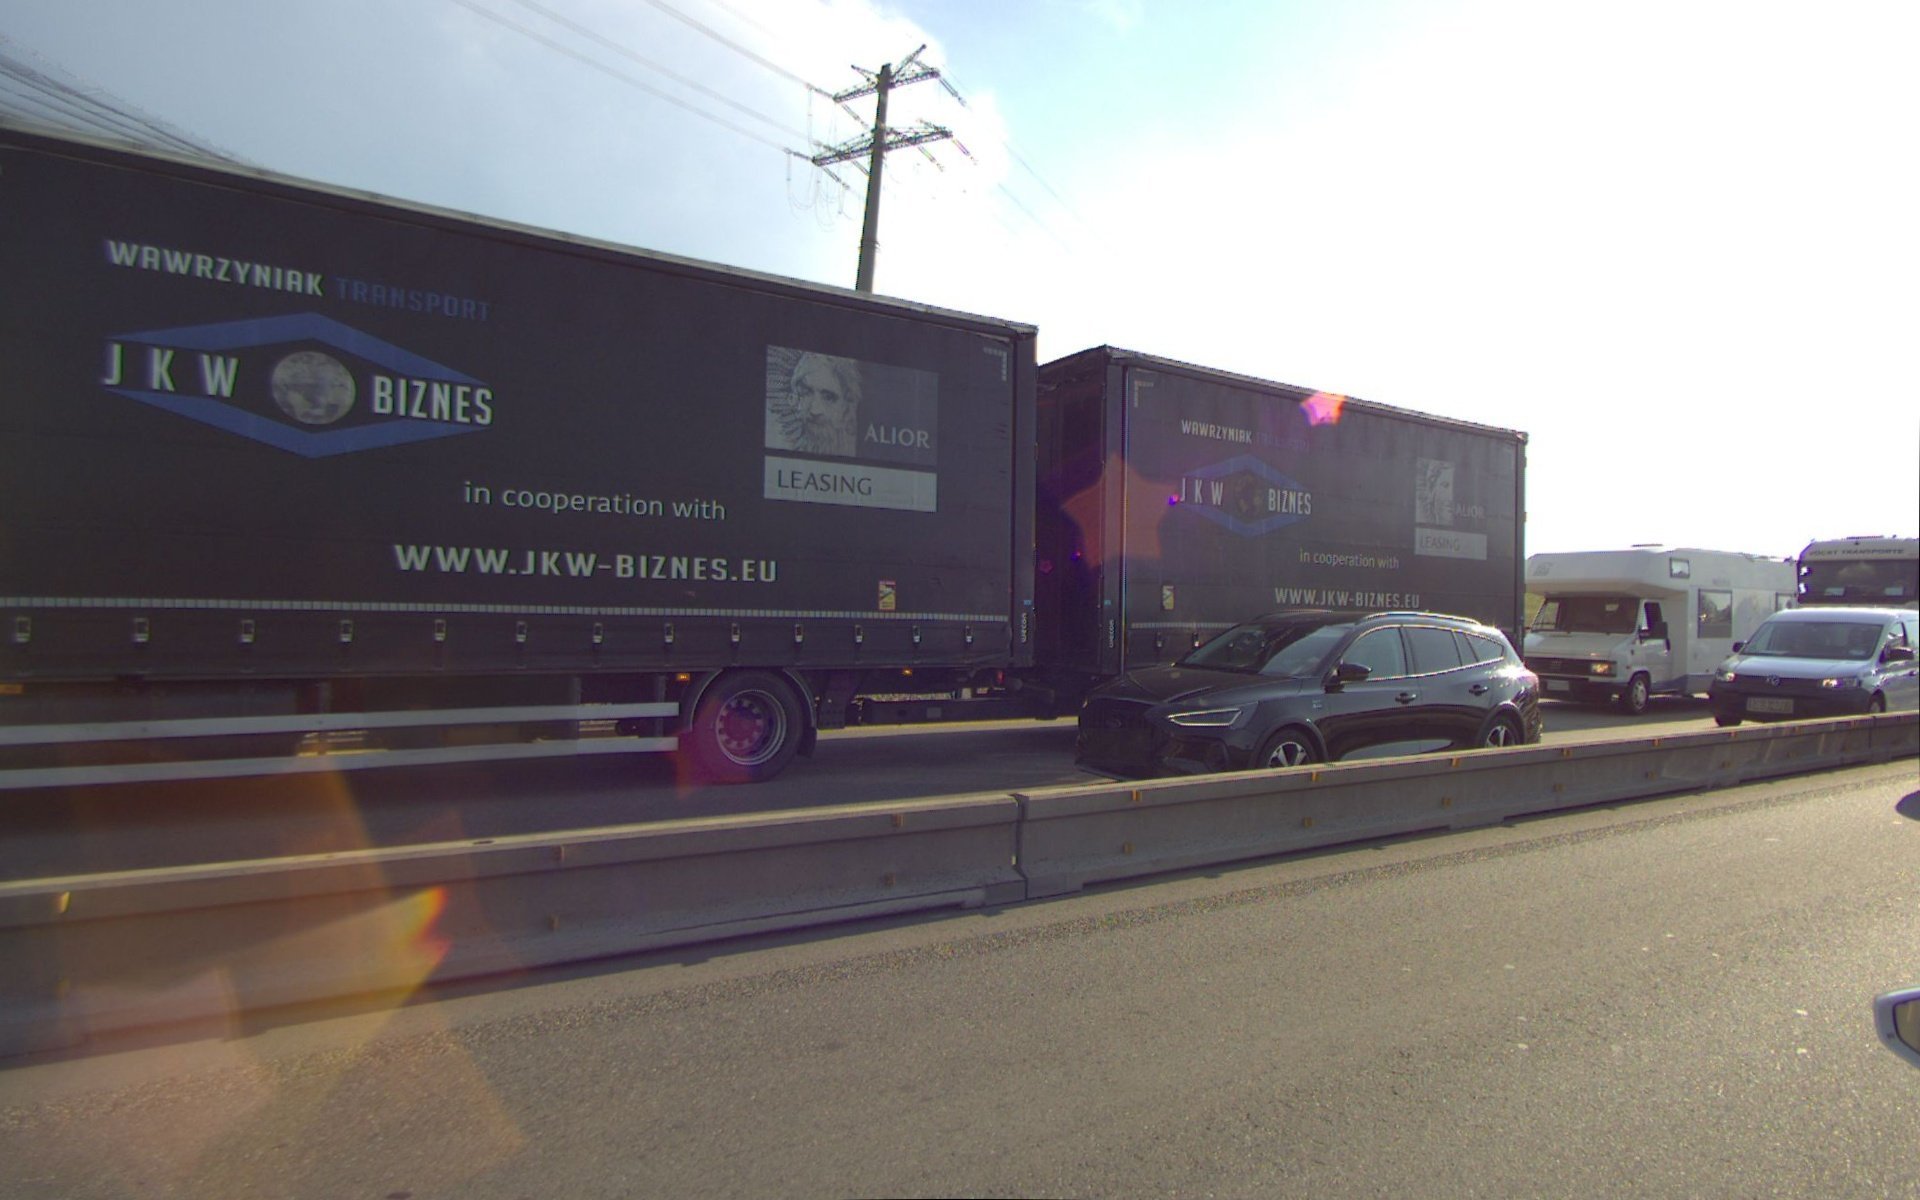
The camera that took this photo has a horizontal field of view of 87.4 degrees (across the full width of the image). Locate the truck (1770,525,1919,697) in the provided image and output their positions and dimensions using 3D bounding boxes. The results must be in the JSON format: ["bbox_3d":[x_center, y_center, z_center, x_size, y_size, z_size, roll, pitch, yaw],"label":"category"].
[{"bbox_3d":[23.124,0.333,25.112,6.447,3.804,2.586,2,-1,-33],"label":"truck"}]

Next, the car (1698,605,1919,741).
[{"bbox_3d":[12.729,0.996,14.703,4.408,1.718,1.746,2,-1,-34],"label":"car"}]

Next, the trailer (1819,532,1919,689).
[{"bbox_3d":[28.513,0.460,28.685,13.835,3.774,2.504,2,-1,-34],"label":"trailer"}]

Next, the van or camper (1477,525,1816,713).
[{"bbox_3d":[12.928,0.409,18.659,7.534,2.930,2.395,2,-1,-32],"label":"van or camper"}]

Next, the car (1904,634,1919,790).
[{"bbox_3d":[11.274,1.088,9.828,4.909,1.417,1.923,1,0,-34],"label":"car"}]

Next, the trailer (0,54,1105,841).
[{"bbox_3d":[-3.731,-0.769,8.014,10.390,4.386,2.463,2,-1,-31],"label":"trailer"}]

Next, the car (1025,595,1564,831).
[{"bbox_3d":[2.885,0.788,8.294,4.551,1.498,1.671,2,-1,-31],"label":"car"}]

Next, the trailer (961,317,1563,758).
[{"bbox_3d":[4.265,-0.477,12.970,8.449,4.244,2.430,2,-1,-32],"label":"trailer"}]
